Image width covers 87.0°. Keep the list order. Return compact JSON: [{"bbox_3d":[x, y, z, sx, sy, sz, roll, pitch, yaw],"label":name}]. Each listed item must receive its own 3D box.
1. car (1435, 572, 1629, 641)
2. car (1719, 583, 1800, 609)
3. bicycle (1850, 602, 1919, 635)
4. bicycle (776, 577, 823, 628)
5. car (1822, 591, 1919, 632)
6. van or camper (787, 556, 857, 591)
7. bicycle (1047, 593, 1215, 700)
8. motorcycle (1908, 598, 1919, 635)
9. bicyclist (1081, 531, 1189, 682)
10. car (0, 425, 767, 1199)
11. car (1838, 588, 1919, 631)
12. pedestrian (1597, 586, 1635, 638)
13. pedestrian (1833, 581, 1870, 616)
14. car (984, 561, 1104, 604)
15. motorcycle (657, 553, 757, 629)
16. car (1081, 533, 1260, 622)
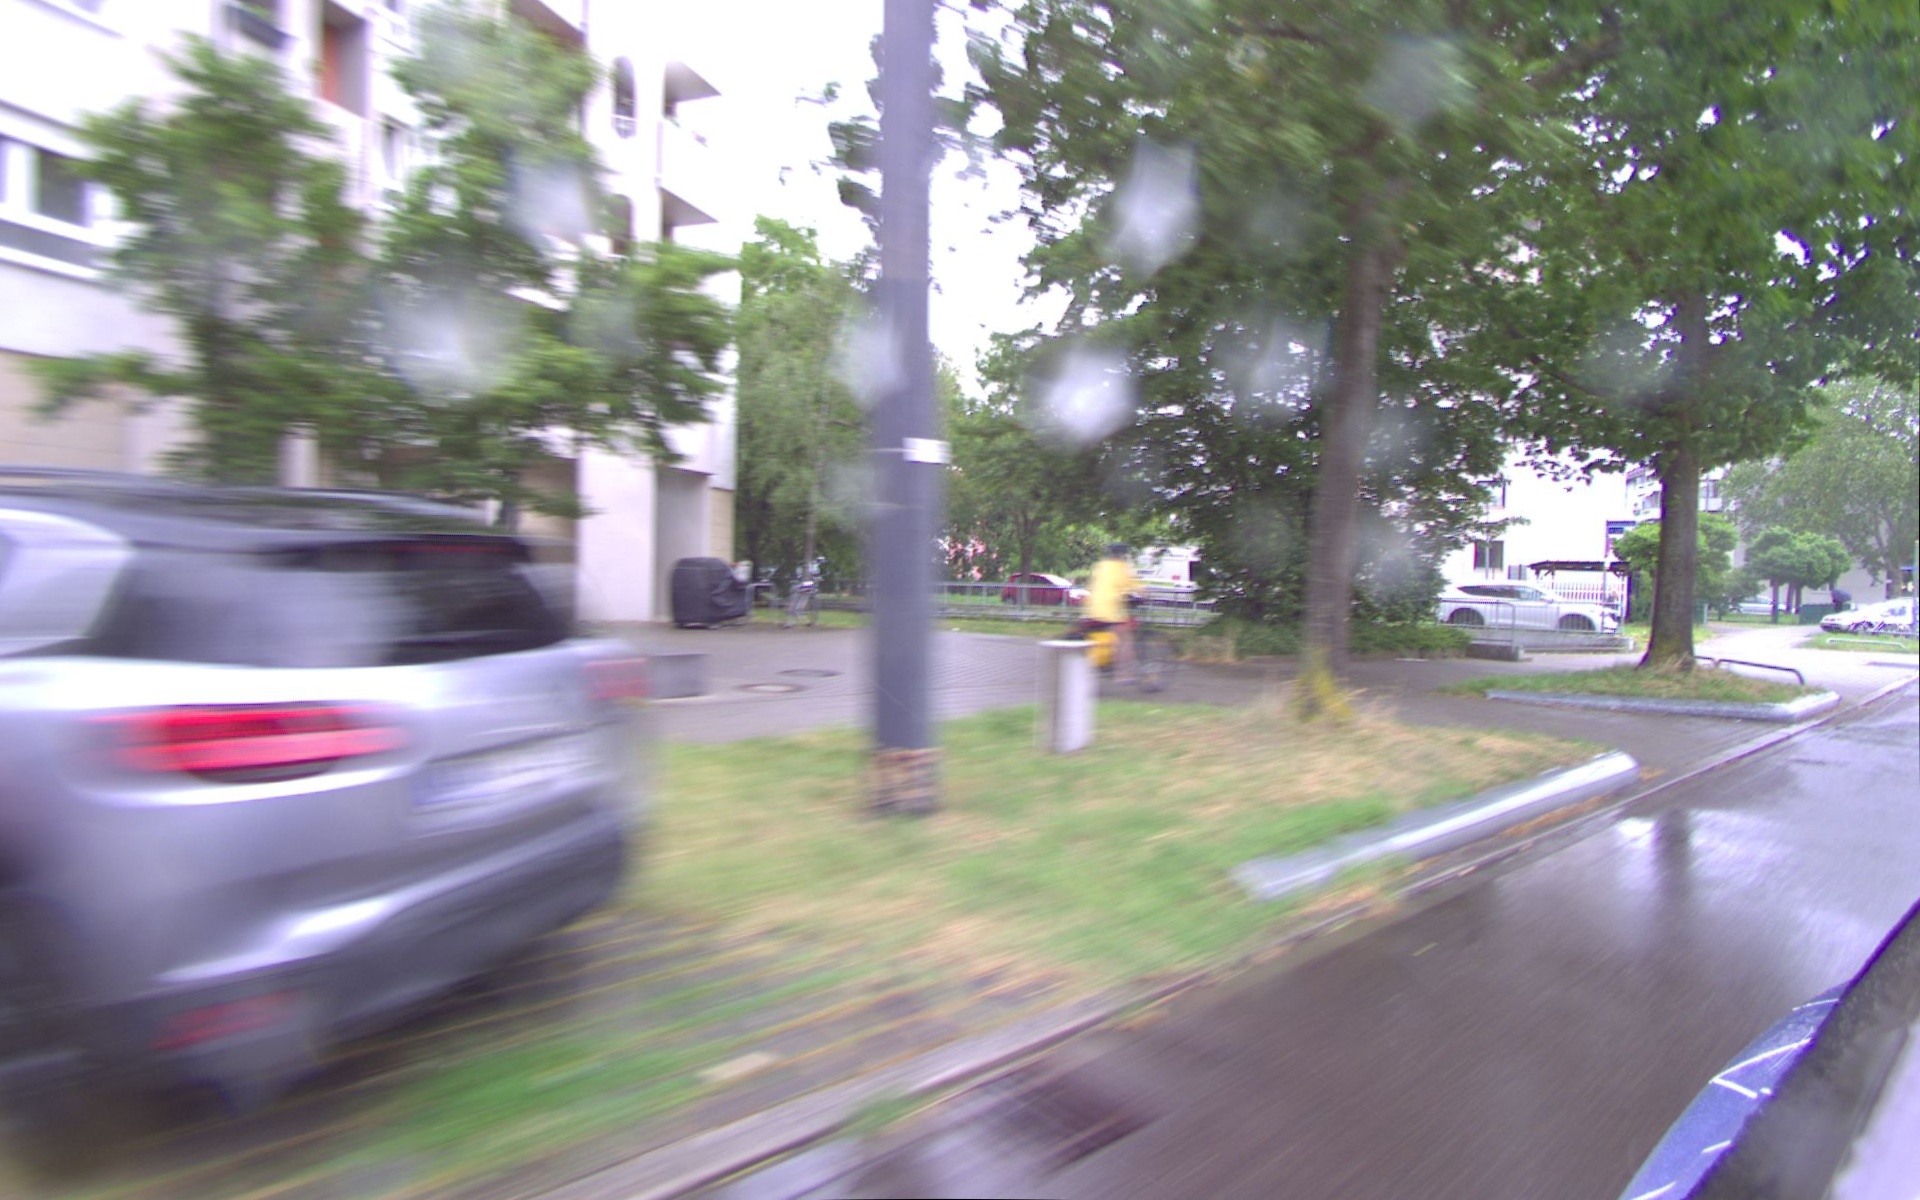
[{"bbox_3d":[16.738,0.132,29.712,4.787,1.767,1.976,3,2,34],"label":"car"},{"bbox_3d":[57.960,-0.296,73.444,1.838,1.701,4.303,0,3,-40],"label":"car"},{"bbox_3d":[34.521,0.674,37.787,1.921,1.115,0.629,3,2,3],"label":"bicycle"},{"bbox_3d":[-3.110,0.031,19.745,0.402,0.936,1.461,2,2,11],"label":"bicycle"},{"bbox_3d":[36.966,0.472,39.947,4.063,1.440,1.732,3,2,13],"label":"car"},{"bbox_3d":[-7.481,-1.436,55.122,1.885,1.793,4.387,2,2,21],"label":"van or camper"},{"bbox_3d":[1.963,0.482,11.420,2.015,1.069,0.736,0,2,-41],"label":"bicycle"},{"bbox_3d":[36.461,0.663,37.515,1.753,1.353,0.687,3,2,13],"label":"motorcycle"},{"bbox_3d":[1.973,0.050,11.405,0.928,1.613,0.736,1,2,-41],"label":"bicyclist"},{"bbox_3d":[-3.027,0.357,3.604,4.095,1.740,1.989,5,3,18],"label":"car"},{"bbox_3d":[39.636,0.430,42.045,4.289,1.671,1.849,2,2,16],"label":"car"},{"bbox_3d":[20.589,0.366,31.767,0.831,1.590,0.808,2,1,25],"label":"pedestrian"},{"bbox_3d":[48.427,-0.095,54.962,1.405,1.836,1.104,1,1,-32],"label":"pedestrian"},{"bbox_3d":[3.256,-0.712,39.710,4.393,1.545,1.882,3,2,37],"label":"car"},{"bbox_3d":[-4.655,-0.190,18.800,0.871,1.304,2.295,2,2,12],"label":"motorcycle"},{"bbox_3d":[7.596,-0.892,36.907,6.035,3.000,2.104,2,2,34],"label":"car"}]
